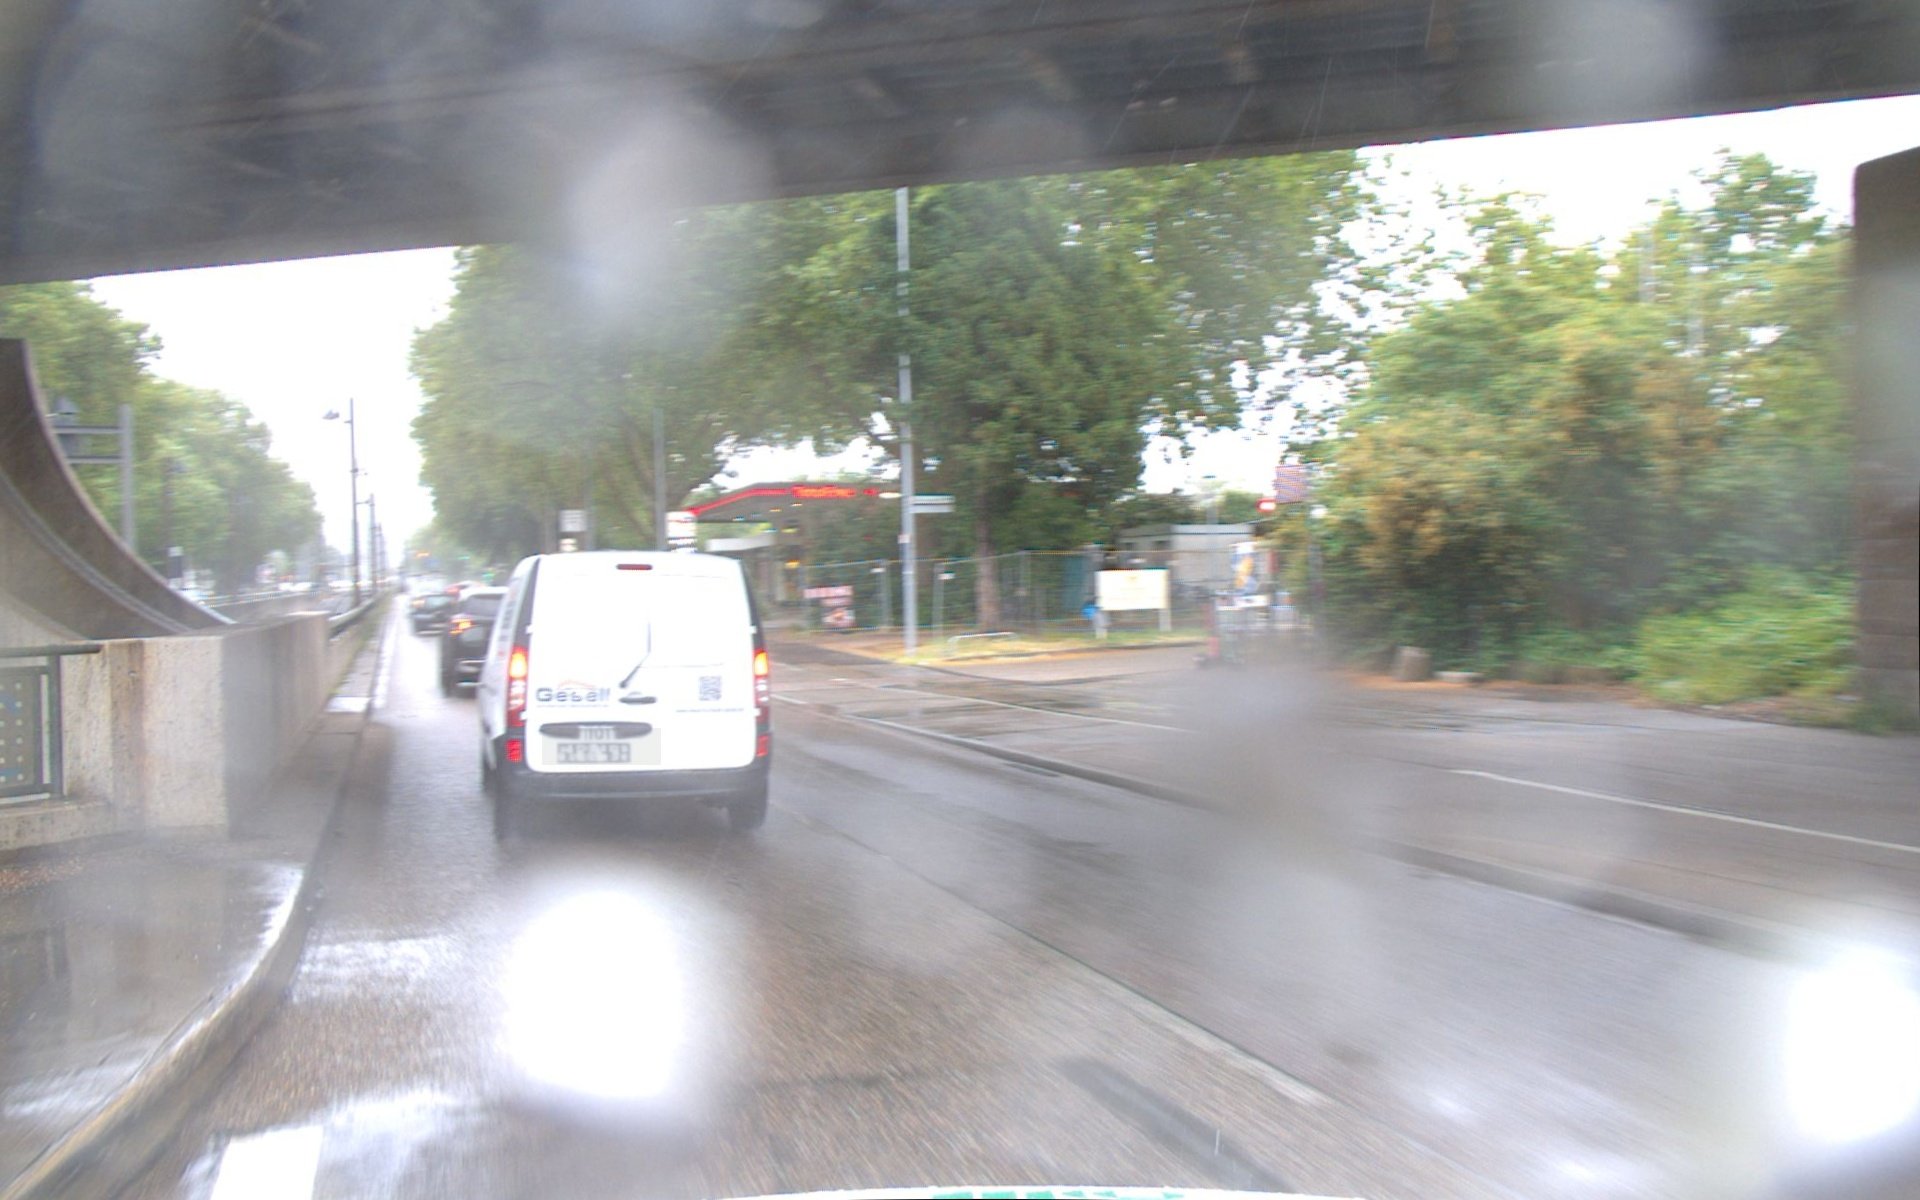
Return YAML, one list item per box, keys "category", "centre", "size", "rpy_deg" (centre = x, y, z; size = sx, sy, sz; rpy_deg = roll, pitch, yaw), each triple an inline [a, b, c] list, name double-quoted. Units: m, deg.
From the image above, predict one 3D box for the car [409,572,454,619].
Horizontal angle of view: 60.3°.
- category: "car"
  centre: [-25.945, -0.221, 81.266]
  size: [2.016, 2.177, 3.980]
  rpy_deg: [-1, 0, -17]

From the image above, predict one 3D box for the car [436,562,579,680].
- category: "car"
  centre: [-7.147, 0.302, 25.888]
  size: [1.889, 1.637, 3.978]
  rpy_deg: [-2, 0, -19]

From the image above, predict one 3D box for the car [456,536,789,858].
- category: "car"
  centre: [-2.532, 0.556, 11.644]
  size: [1.730, 1.808, 3.977]
  rpy_deg: [-2, 0, -19]

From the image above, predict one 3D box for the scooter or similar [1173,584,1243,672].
- category: "scooter or similar"
  centre: [4.095, 0.450, 27.274]
  size: [0.693, 1.333, 1.558]
  rpy_deg: [-6, -1, 21]

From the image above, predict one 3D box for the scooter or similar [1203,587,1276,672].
- category: "scooter or similar"
  centre: [4.297, 0.432, 25.529]
  size: [0.755, 1.199, 1.547]
  rpy_deg: [-4, 1, -1]

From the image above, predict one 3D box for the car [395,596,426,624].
- category: "car"
  centre: [-41.810, 0.730, 125.846]
  size: [1.961, 2.049, 3.984]
  rpy_deg: [-1, 0, -15]
